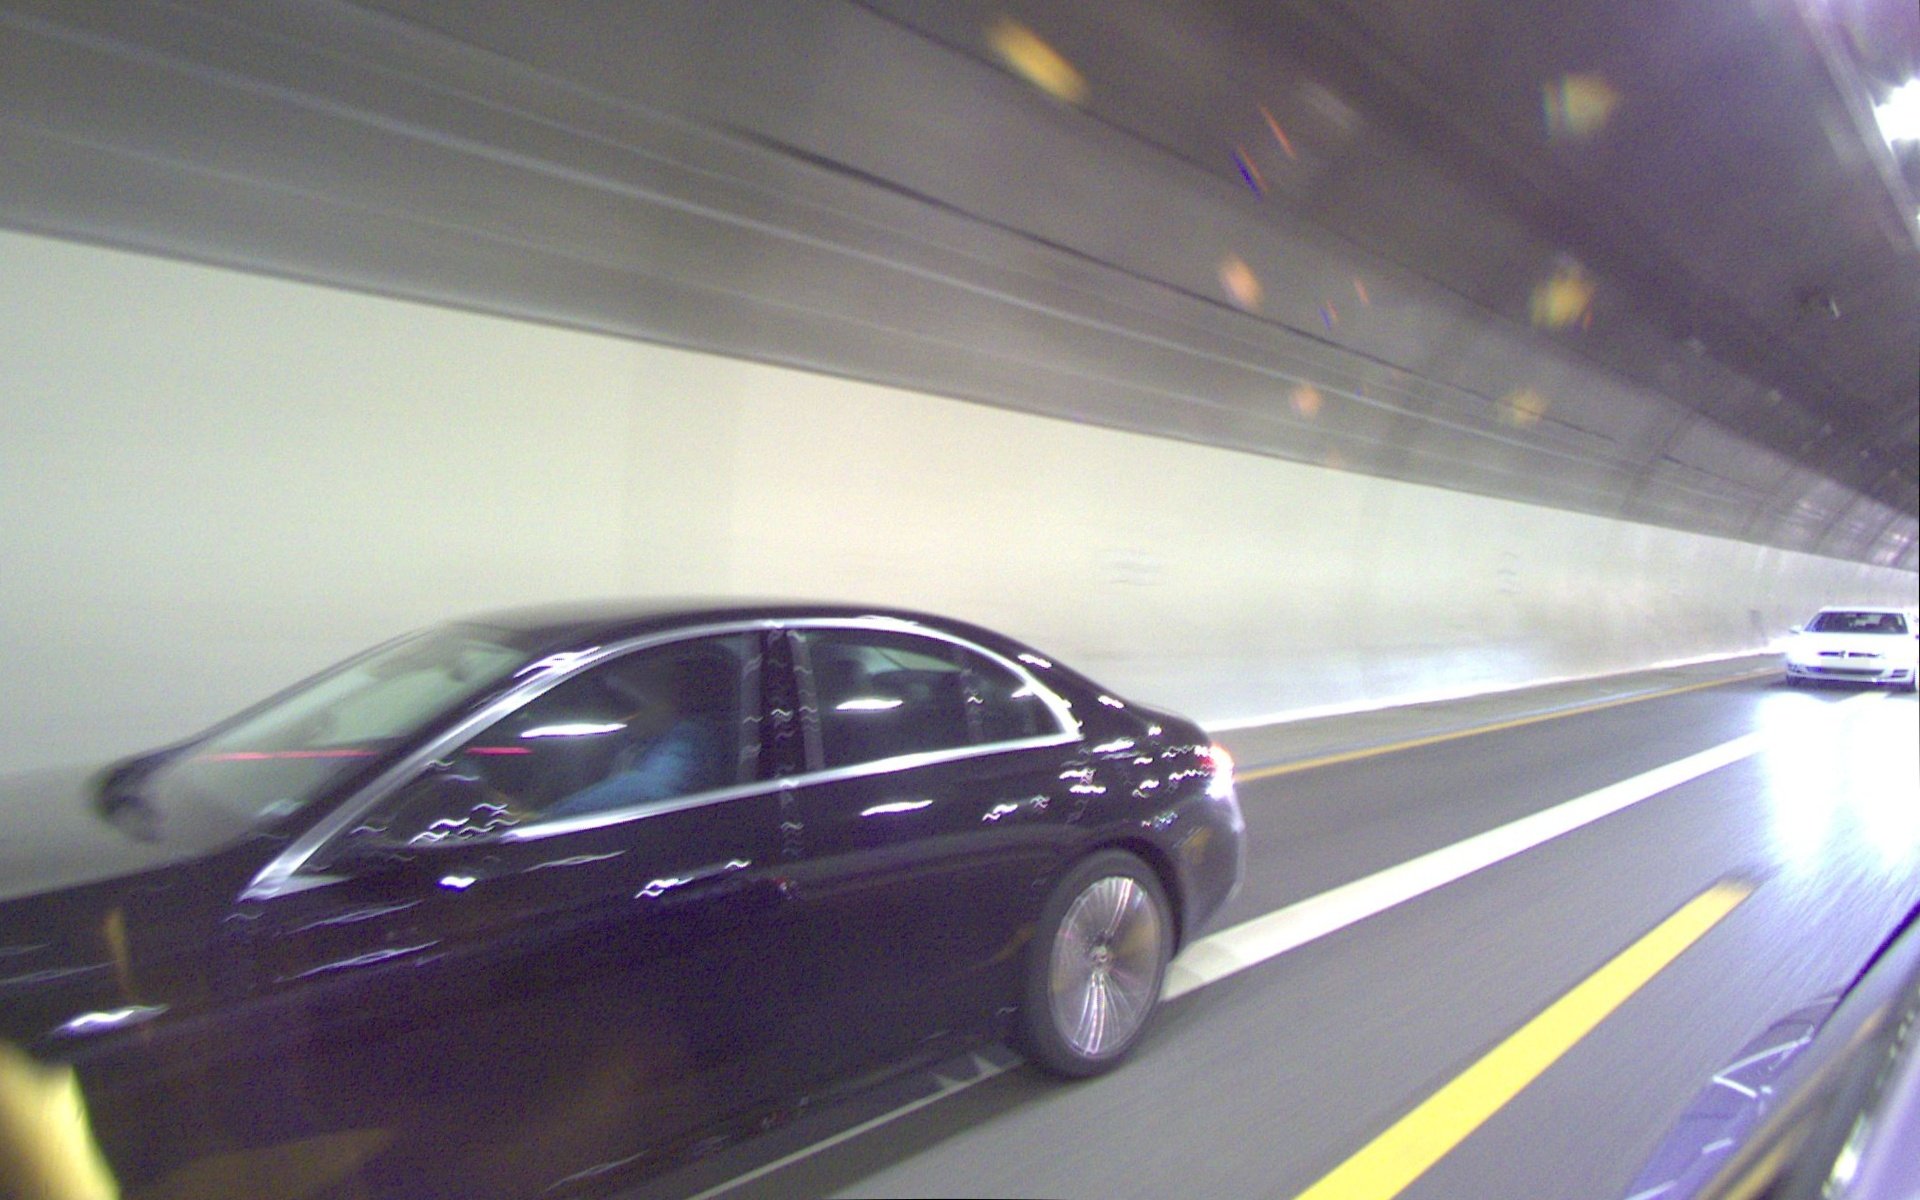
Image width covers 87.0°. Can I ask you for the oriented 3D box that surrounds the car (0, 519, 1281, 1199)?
[{"bbox_3d":[-1.257,0.619,2.983,4.867,1.491,1.929,0,0,-41],"label":"car"}]

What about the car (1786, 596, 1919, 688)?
[{"bbox_3d":[16.601,0.683,18.324,3.962,1.479,1.801,0,0,-39],"label":"car"}]
